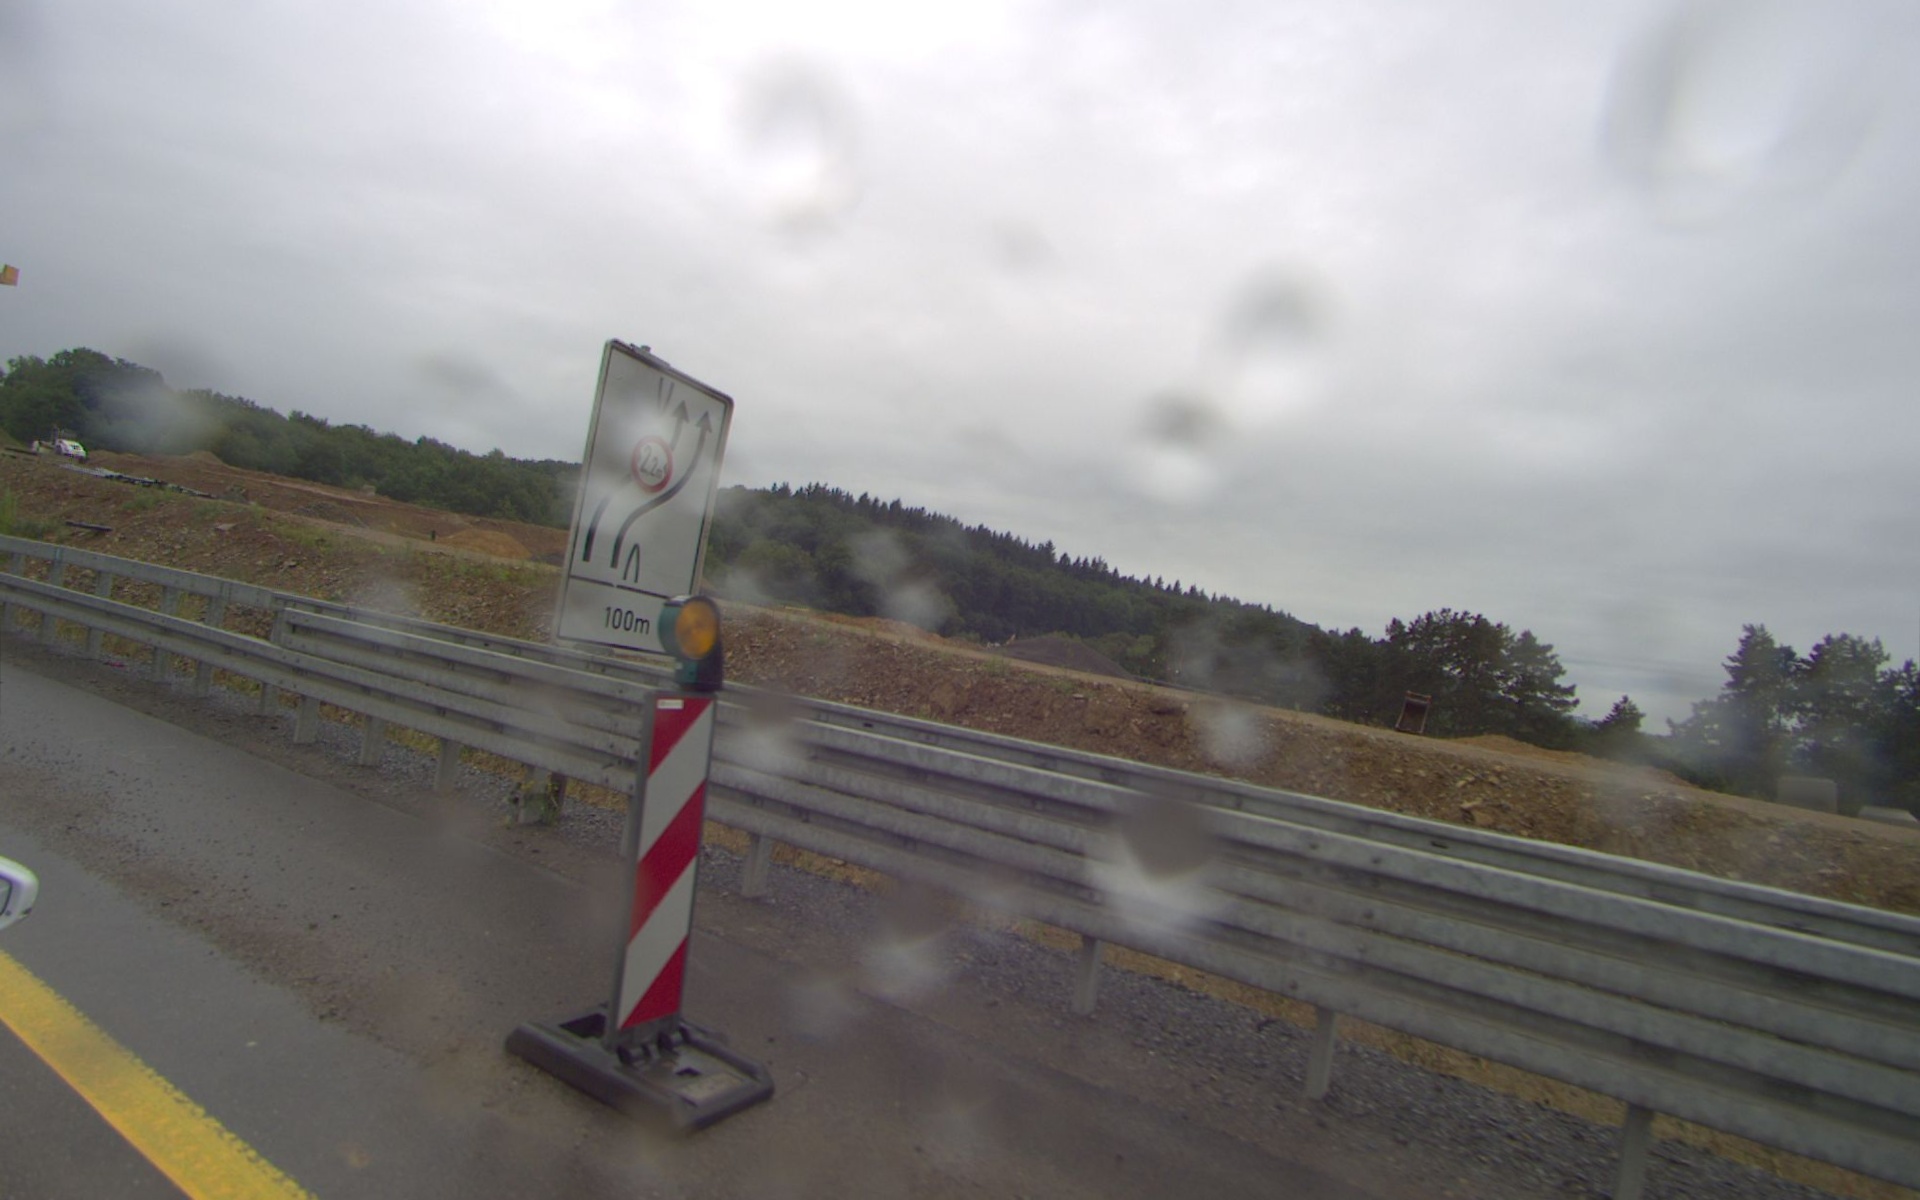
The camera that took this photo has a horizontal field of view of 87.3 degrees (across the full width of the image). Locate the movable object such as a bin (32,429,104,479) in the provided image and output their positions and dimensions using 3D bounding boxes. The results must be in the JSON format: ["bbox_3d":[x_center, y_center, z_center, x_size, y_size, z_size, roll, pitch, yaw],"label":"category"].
[{"bbox_3d":[-78.761,-12.916,88.770,6.446,3.641,2.347,7,-1,28],"label":"movable object such as a bin"}]
